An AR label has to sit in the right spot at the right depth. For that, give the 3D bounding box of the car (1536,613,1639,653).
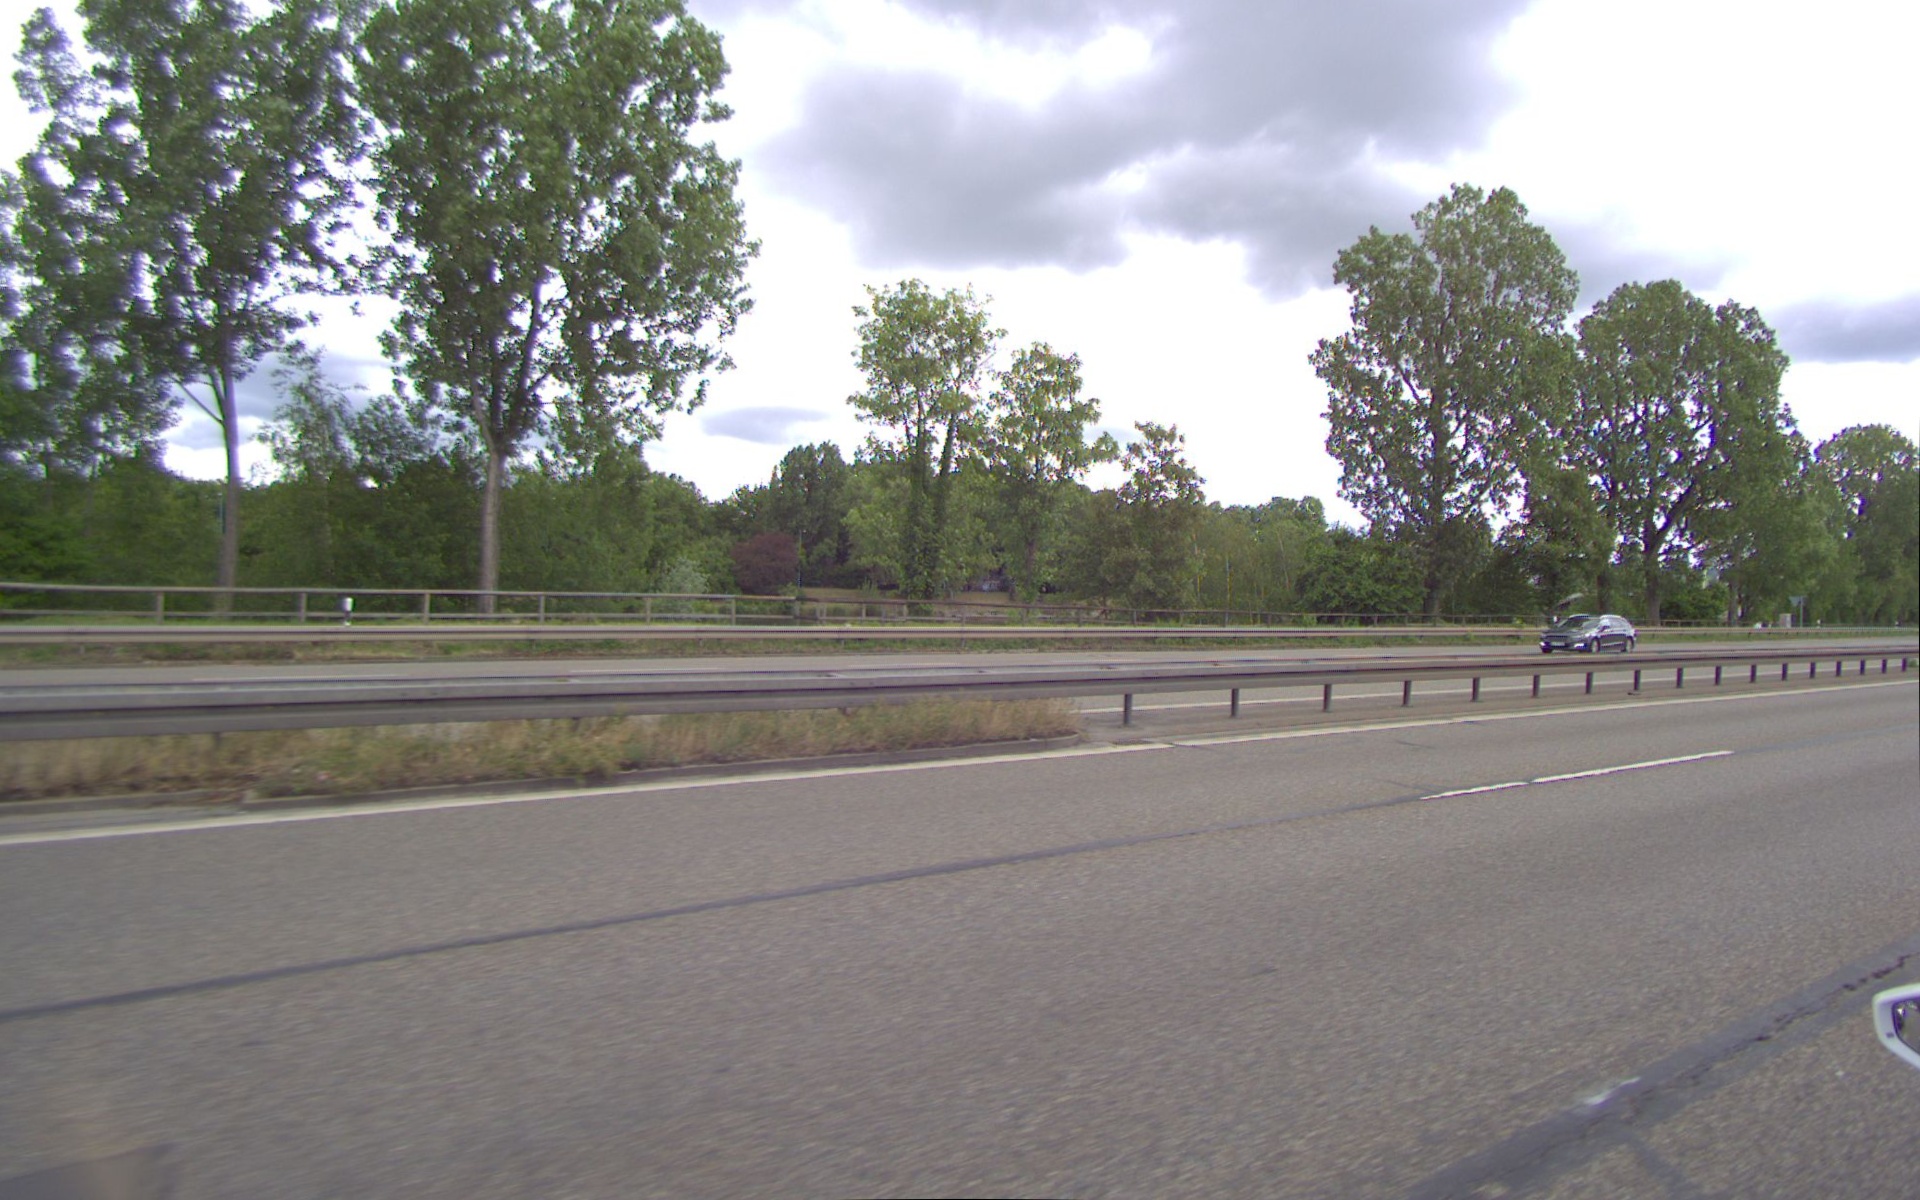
[{"bbox_3d":[24.094,1.246,38.532,4.590,1.432,1.687,1,0,-35],"label":"car"}]
